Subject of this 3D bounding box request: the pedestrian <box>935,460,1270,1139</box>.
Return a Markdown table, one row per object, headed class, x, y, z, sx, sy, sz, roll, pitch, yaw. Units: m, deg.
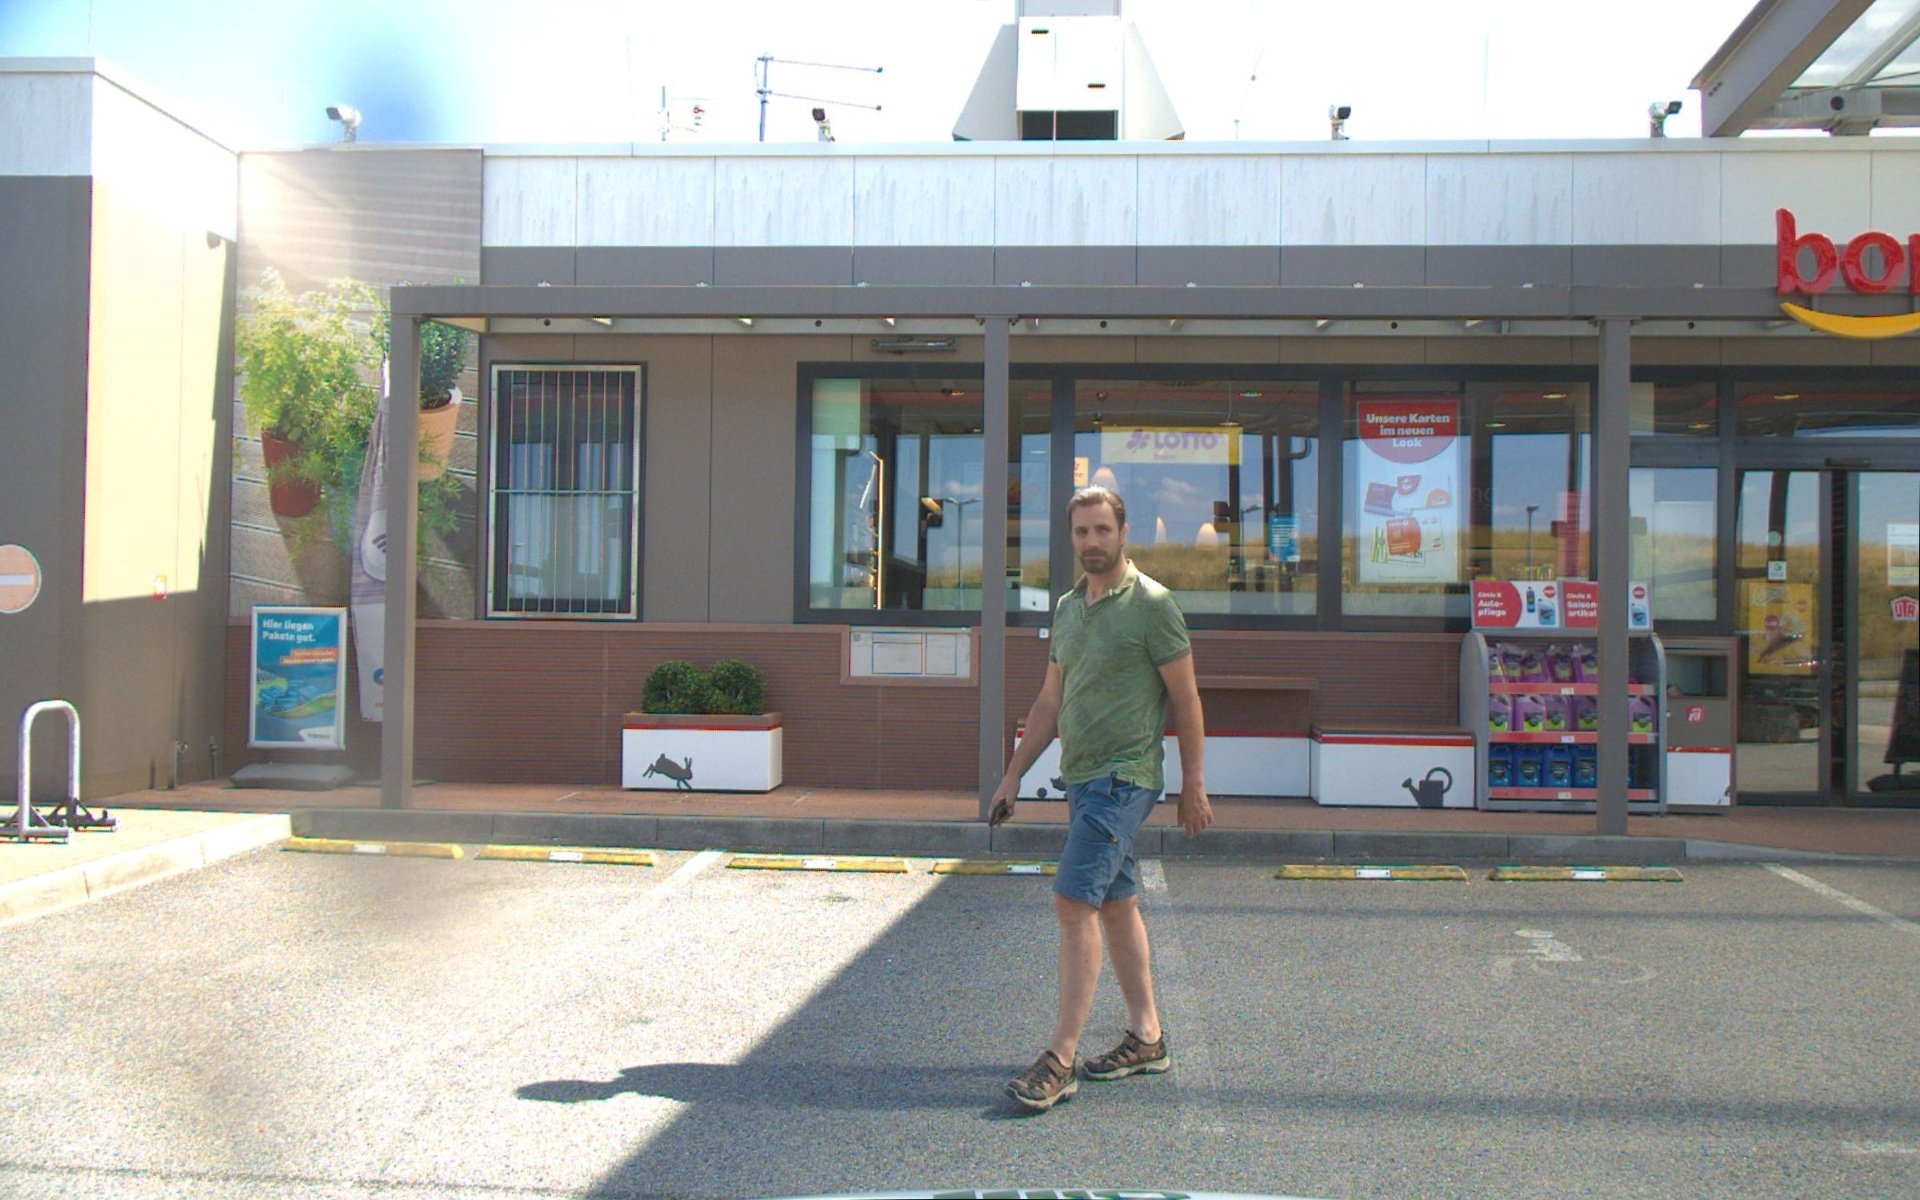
| class | x | y | z | sx | sy | sz | roll | pitch | yaw |
| --- | --- | --- | --- | --- | --- | --- | --- | --- | --- |
| pedestrian | 0.449 | 0.537 | 5.006 | 0.689 | 1.829 | 0.860 | 0 | -1 | 33 |
